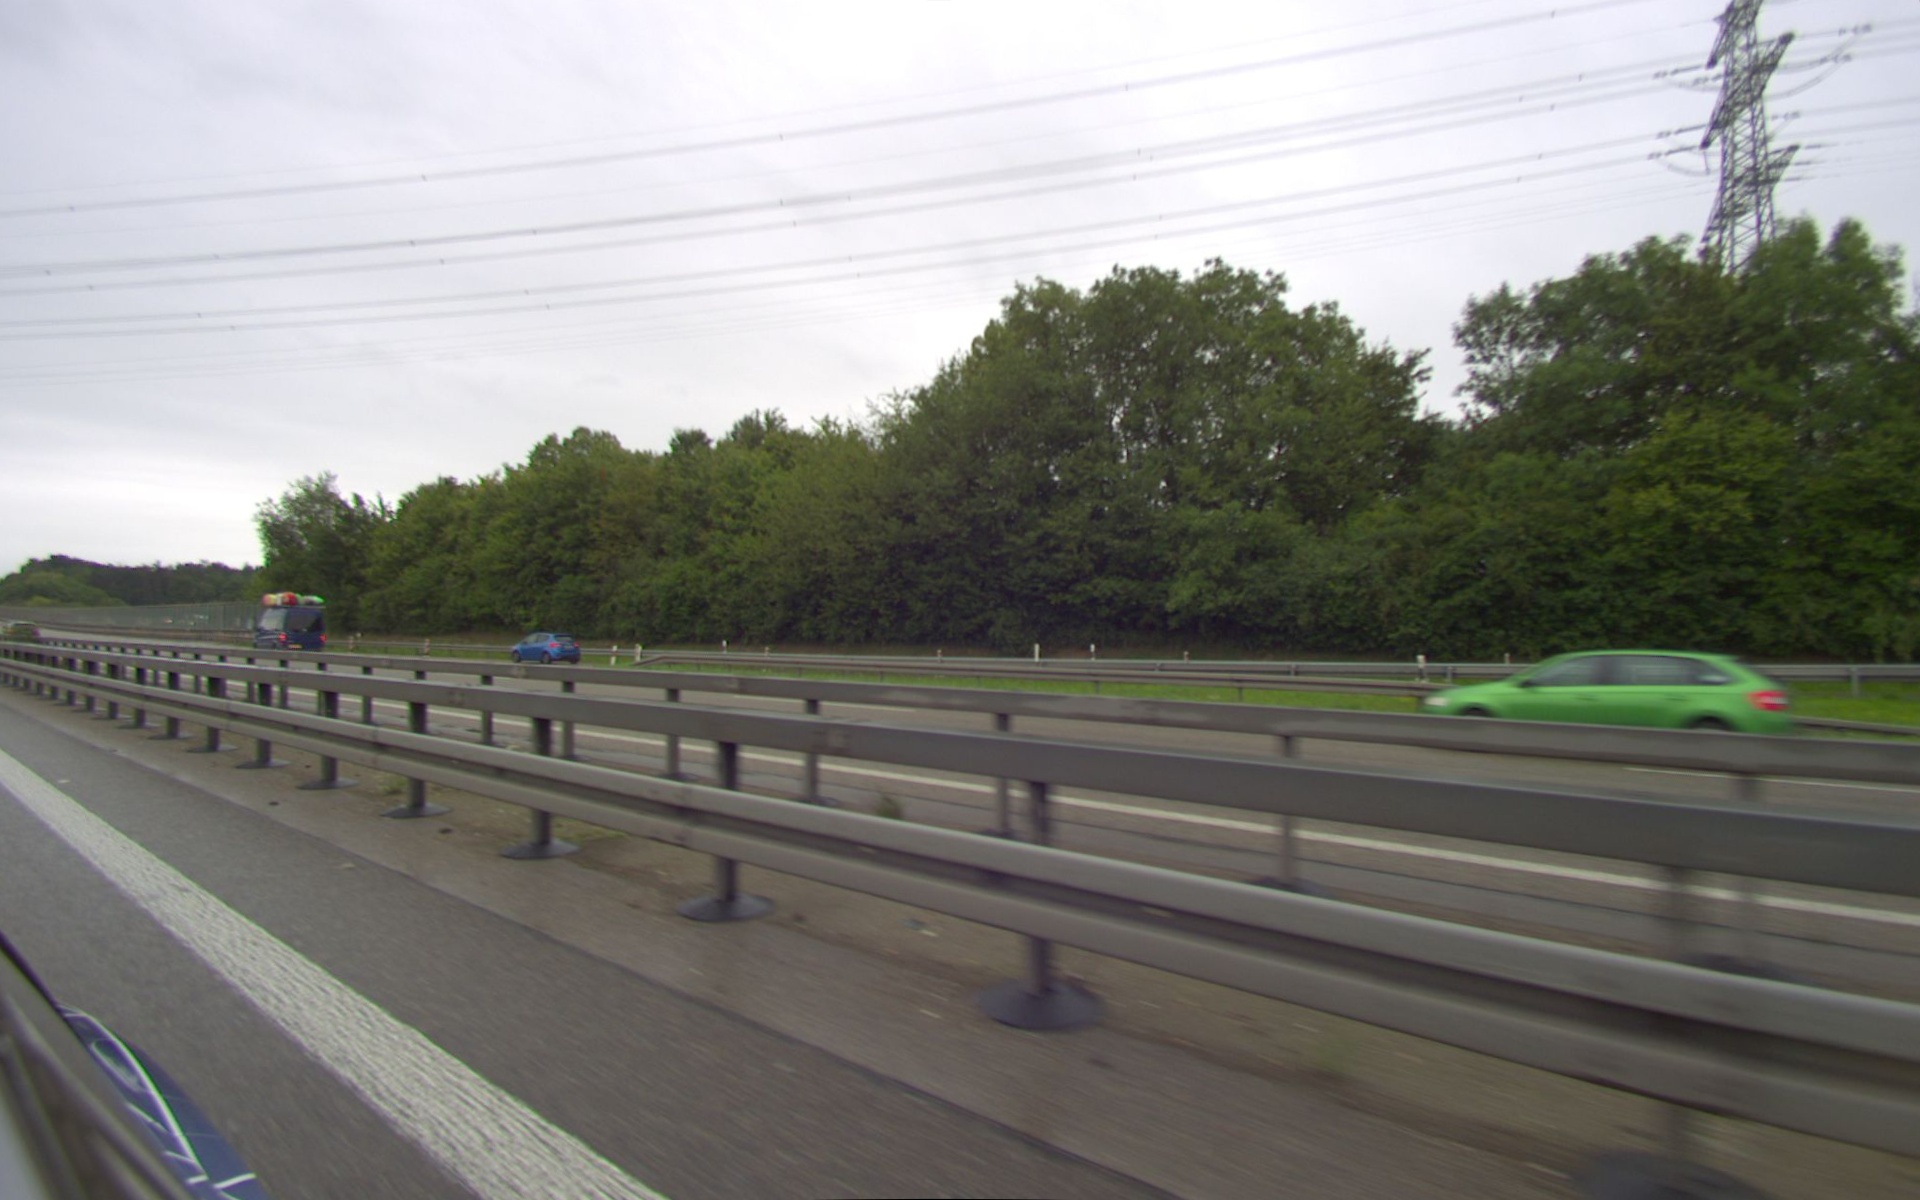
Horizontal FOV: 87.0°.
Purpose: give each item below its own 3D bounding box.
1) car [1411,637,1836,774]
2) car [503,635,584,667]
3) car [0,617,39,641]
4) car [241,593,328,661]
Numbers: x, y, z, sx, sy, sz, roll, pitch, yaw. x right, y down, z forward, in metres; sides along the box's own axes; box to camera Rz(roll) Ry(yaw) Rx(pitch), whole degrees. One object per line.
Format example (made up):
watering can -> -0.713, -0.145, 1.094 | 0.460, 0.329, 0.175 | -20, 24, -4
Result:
car -> 8.667, 1.266, 13.494 | 4.512, 1.505, 1.855 | -1, -3, 41
car -> -21.228, 2.557, 51.537 | 3.990, 1.555, 1.951 | -1, -2, 35
car -> -69.658, 2.156, 74.743 | 4.788, 1.668, 1.903 | -1, -3, 42
car -> -35.483, 1.434, 53.065 | 6.173, 3.353, 2.230 | -1, -3, 42
